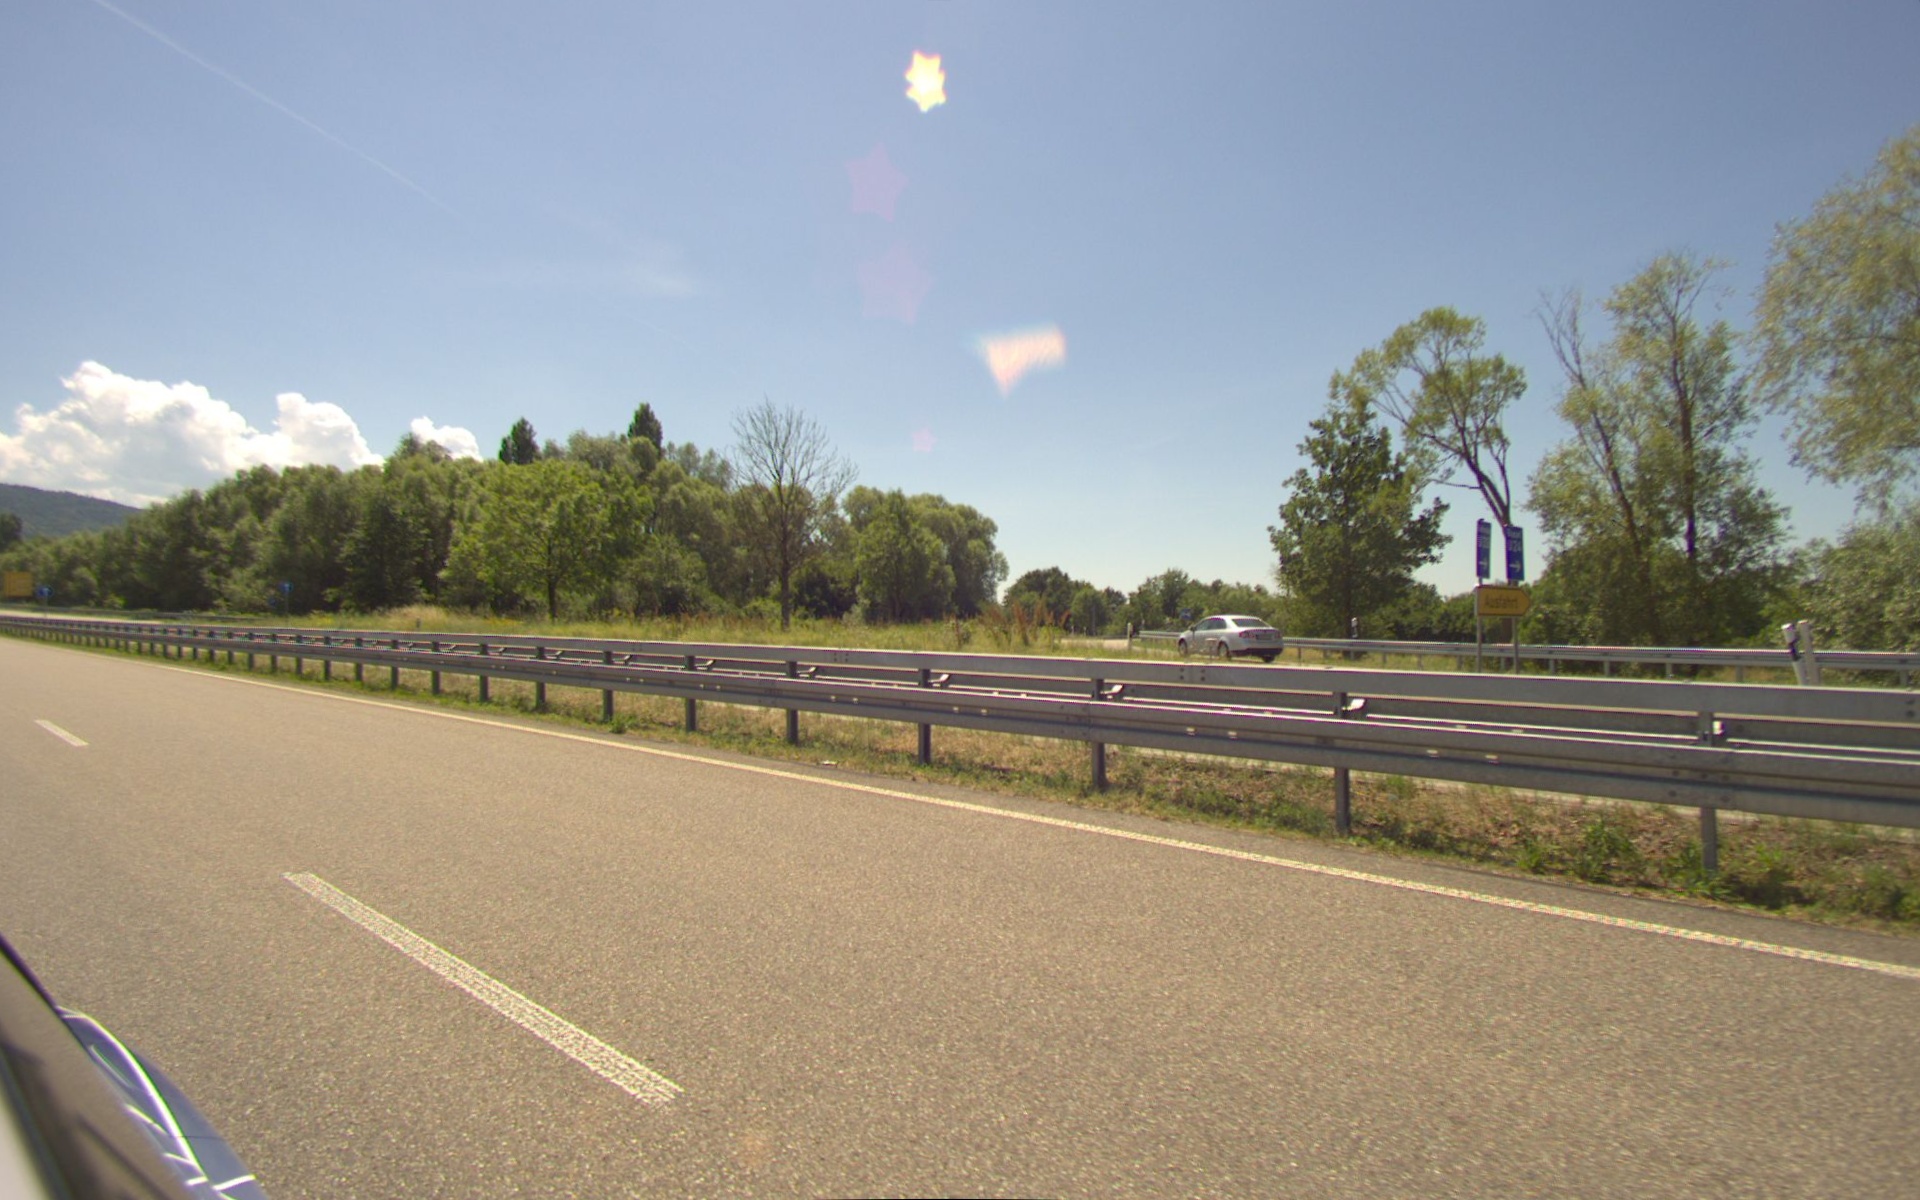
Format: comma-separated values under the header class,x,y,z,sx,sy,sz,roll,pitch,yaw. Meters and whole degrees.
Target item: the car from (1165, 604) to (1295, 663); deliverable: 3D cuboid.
class,x,y,z,sx,sy,sz,roll,pitch,yaw
car,8.491,0.987,32.365,1.700,1.657,4.957,-1,0,-16
